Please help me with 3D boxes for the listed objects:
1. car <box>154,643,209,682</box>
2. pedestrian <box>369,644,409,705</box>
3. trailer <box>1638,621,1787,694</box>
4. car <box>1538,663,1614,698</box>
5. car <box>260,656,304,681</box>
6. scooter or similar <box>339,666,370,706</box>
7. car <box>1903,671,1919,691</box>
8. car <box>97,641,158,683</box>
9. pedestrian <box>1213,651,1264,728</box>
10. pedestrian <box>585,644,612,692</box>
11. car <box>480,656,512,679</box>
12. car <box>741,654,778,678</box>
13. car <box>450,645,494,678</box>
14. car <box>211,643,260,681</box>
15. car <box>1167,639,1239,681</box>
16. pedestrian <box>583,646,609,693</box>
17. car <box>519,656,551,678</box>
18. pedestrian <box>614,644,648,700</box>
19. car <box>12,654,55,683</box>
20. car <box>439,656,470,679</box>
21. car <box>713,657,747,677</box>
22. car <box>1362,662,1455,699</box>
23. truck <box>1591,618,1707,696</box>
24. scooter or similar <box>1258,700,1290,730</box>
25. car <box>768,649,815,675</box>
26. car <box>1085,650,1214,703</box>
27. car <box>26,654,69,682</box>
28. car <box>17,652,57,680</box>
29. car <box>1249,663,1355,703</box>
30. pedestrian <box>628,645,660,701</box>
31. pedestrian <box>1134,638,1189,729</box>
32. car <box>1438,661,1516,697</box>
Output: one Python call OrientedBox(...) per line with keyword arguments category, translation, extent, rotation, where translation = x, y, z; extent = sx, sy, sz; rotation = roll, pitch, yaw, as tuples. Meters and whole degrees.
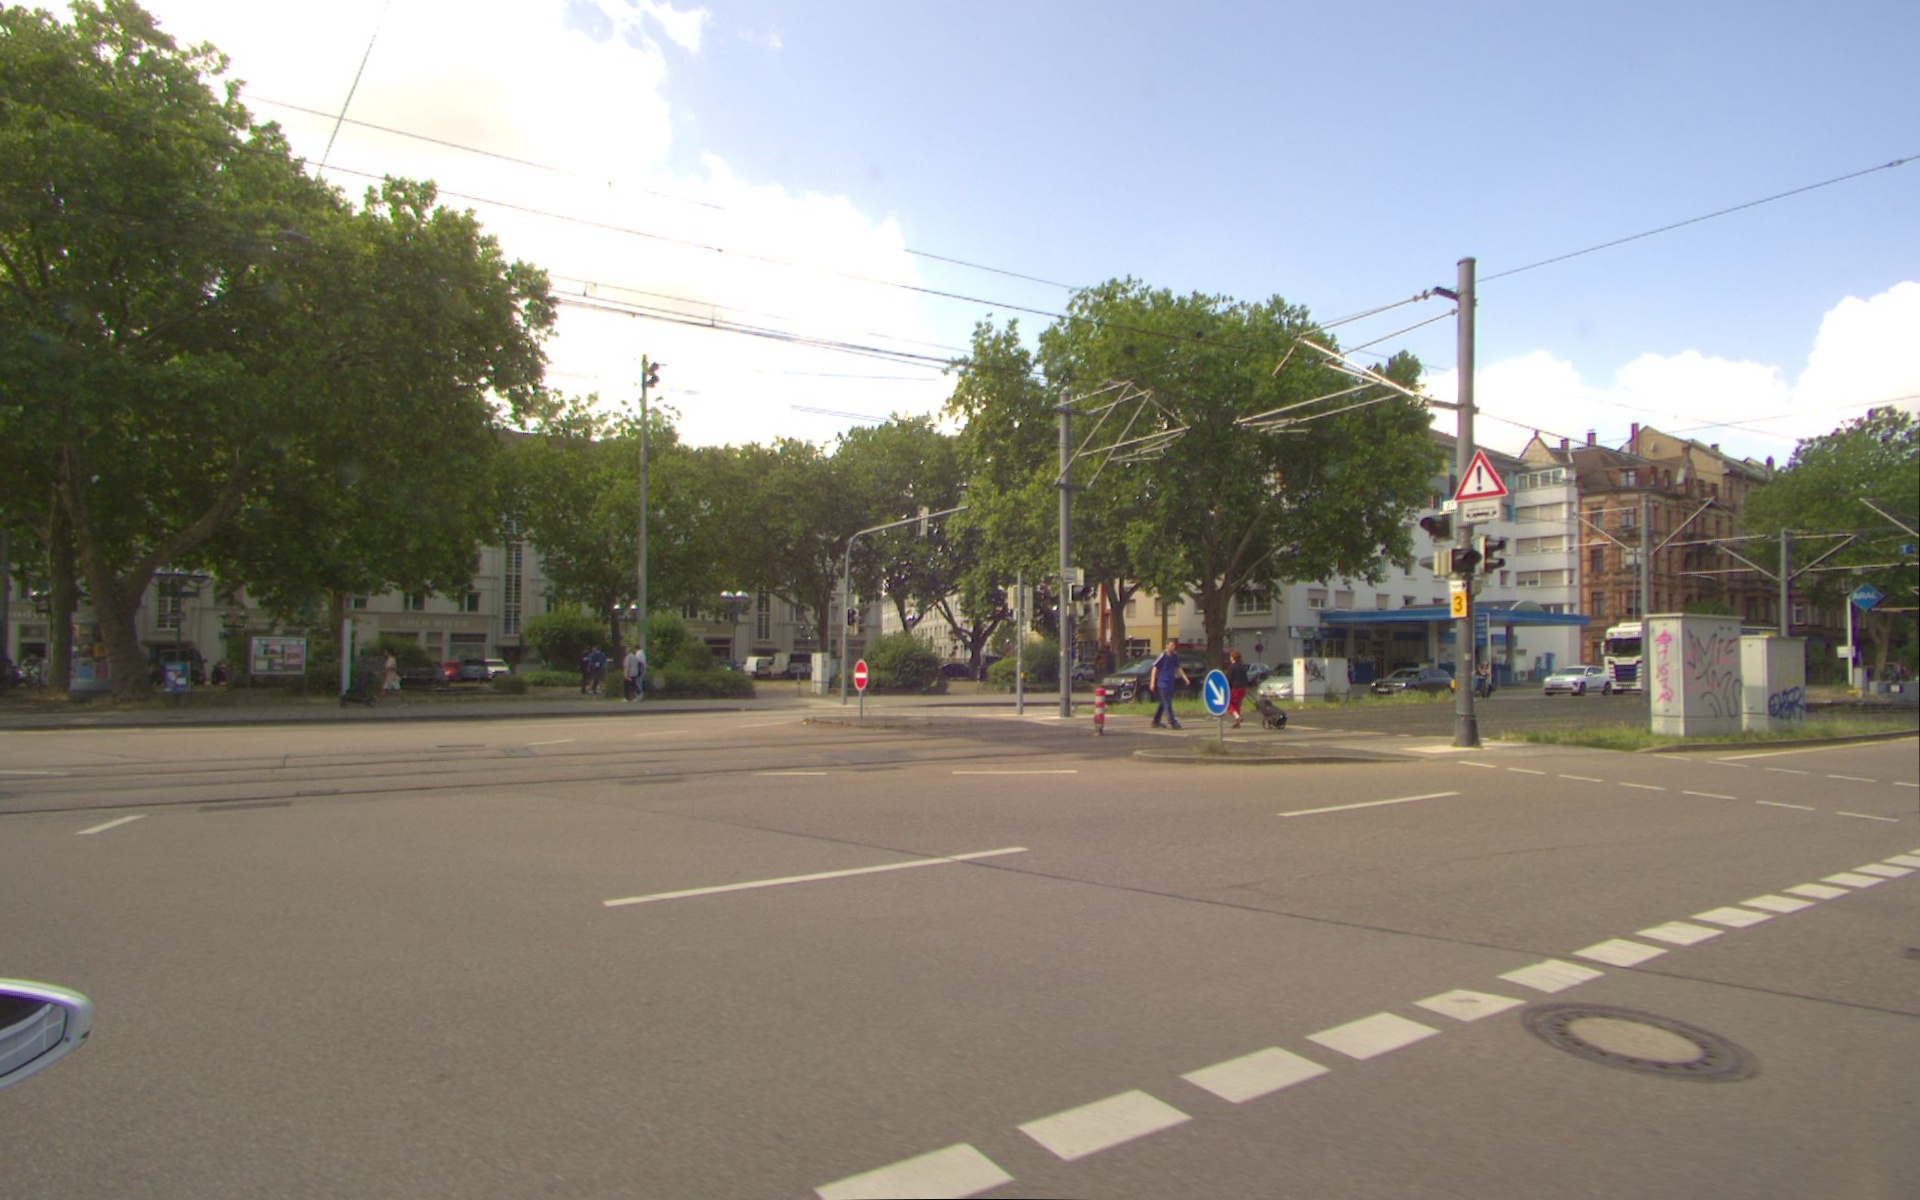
OrientedBox(category="car", translation=(-43.643, 3.500, 56.222), extent=(1.974, 2.101, 3.978), rotation=(2, -4, -33))
OrientedBox(category="pedestrian", translation=(-15.937, 2.061, 27.938), extent=(0.910, 1.666, 0.567), rotation=(2, -3, -32))
OrientedBox(category="trailer", translation=(45.674, 3.490, 60.619), extent=(11.487, 4.127, 2.904), rotation=(2, -3, -30))
OrientedBox(category="car", translation=(32.424, 4.210, 52.672), extent=(4.080, 1.726, 1.844), rotation=(3, -3, -33))
OrientedBox(category="car", translation=(-39.932, 4.014, 59.033), extent=(1.974, 1.439, 3.978), rotation=(2, -4, -33))
OrientedBox(category="scooter or similar", translation=(-16.630, 2.346, 27.513), extent=(0.699, 1.069, 0.488), rotation=(2, -3, -32))
OrientedBox(category="car", translation=(80.203, 6.739, 83.238), extent=(3.947, 1.651, 1.793), rotation=(2, -4, -33))
OrientedBox(category="car", translation=(-45.291, 3.396, 54.563), extent=(1.974, 2.209, 4.234), rotation=(2, -4, -33))
OrientedBox(category="pedestrian", translation=(5.599, 1.785, 20.135), extent=(0.768, 1.510, 0.652), rotation=(-1, -3, 44))
OrientedBox(category="pedestrian", translation=(-13.479, 2.532, 37.294), extent=(0.597, 1.772, 0.695), rotation=(-1, -3, 33))
OrientedBox(category="car", translation=(-34.807, 5.023, 75.065), extent=(1.721, 1.657, 3.980), rotation=(2, -4, -31))
OrientedBox(category="car", translation=(-17.425, 5.731, 86.917), extent=(1.973, 1.988, 3.980), rotation=(2, -4, -31))
OrientedBox(category="car", translation=(-31.674, 3.984, 64.935), extent=(1.975, 2.038, 3.975), rotation=(2, -4, -35))
OrientedBox(category="car", translation=(-41.417, 3.568, 57.286), extent=(1.974, 2.101, 3.978), rotation=(2, -4, -33))
OrientedBox(category="car", translation=(14.675, 3.633, 60.483), extent=(3.947, 2.450, 2.101), rotation=(2, -4, -33))
OrientedBox(category="pedestrian", translation=(-14.075, 2.680, 38.706), extent=(0.597, 1.772, 0.695), rotation=(-1, -3, 33))
OrientedBox(category="car", translation=(-32.508, 5.116, 76.522), extent=(1.721, 1.657, 3.980), rotation=(2, -4, -31))
OrientedBox(category="pedestrian", translation=(-10.504, 2.298, 31.967), extent=(0.683, 1.744, 0.716), rotation=(-1, -3, 33))
OrientedBox(category="car", translation=(-45.870, 3.377, 49.595), extent=(1.455, 1.406, 3.040), rotation=(3, -5, -42))
OrientedBox(category="car", translation=(-37.171, 4.926, 73.541), extent=(1.721, 1.657, 3.980), rotation=(2, -4, -31))
OrientedBox(category="car", translation=(-19.656, 5.681, 85.450), extent=(1.721, 1.657, 3.980), rotation=(2, -4, -31))
OrientedBox(category="car", translation=(19.432, 3.448, 43.362), extent=(3.920, 1.464, 1.844), rotation=(2, -3, -32))
OrientedBox(category="truck", translation=(39.036, 3.241, 56.716), extent=(6.499, 4.200, 2.904), rotation=(2, -3, -31))
OrientedBox(category="scooter or similar", translation=(6.158, 2.253, 19.641), extent=(0.516, 0.542, 0.308), rotation=(0, -2, 45))
OrientedBox(category="car", translation=(-13.000, 4.742, 77.022), extent=(2.075, 1.929, 4.469), rotation=(2, -4, -31))
OrientedBox(category="car", translation=(6.652, 2.654, 34.990), extent=(4.360, 1.748, 1.844), rotation=(3, -3, -32))
OrientedBox(category="car", translation=(-47.994, 3.572, 52.704), extent=(1.454, 1.406, 3.210), rotation=(3, -4, -40))
OrientedBox(category="car", translation=(-56.293, 4.037, 61.128), extent=(1.453, 1.686, 3.045), rotation=(3, -4, -37))
OrientedBox(category="car", translation=(13.480, 3.228, 39.388), extent=(4.271, 1.483, 1.724), rotation=(3, -3, -33))
OrientedBox(category="pedestrian", translation=(-10.305, 2.382, 32.671), extent=(0.683, 1.786, 0.667), rotation=(-1, -3, 33))
OrientedBox(category="pedestrian", translation=(4.013, 1.650, 19.955), extent=(0.734, 1.752, 0.768), rotation=(2, -3, -34))
OrientedBox(category="car", translation=(24.212, 3.669, 46.858), extent=(3.704, 1.582, 1.676), rotation=(3, -3, -33))
